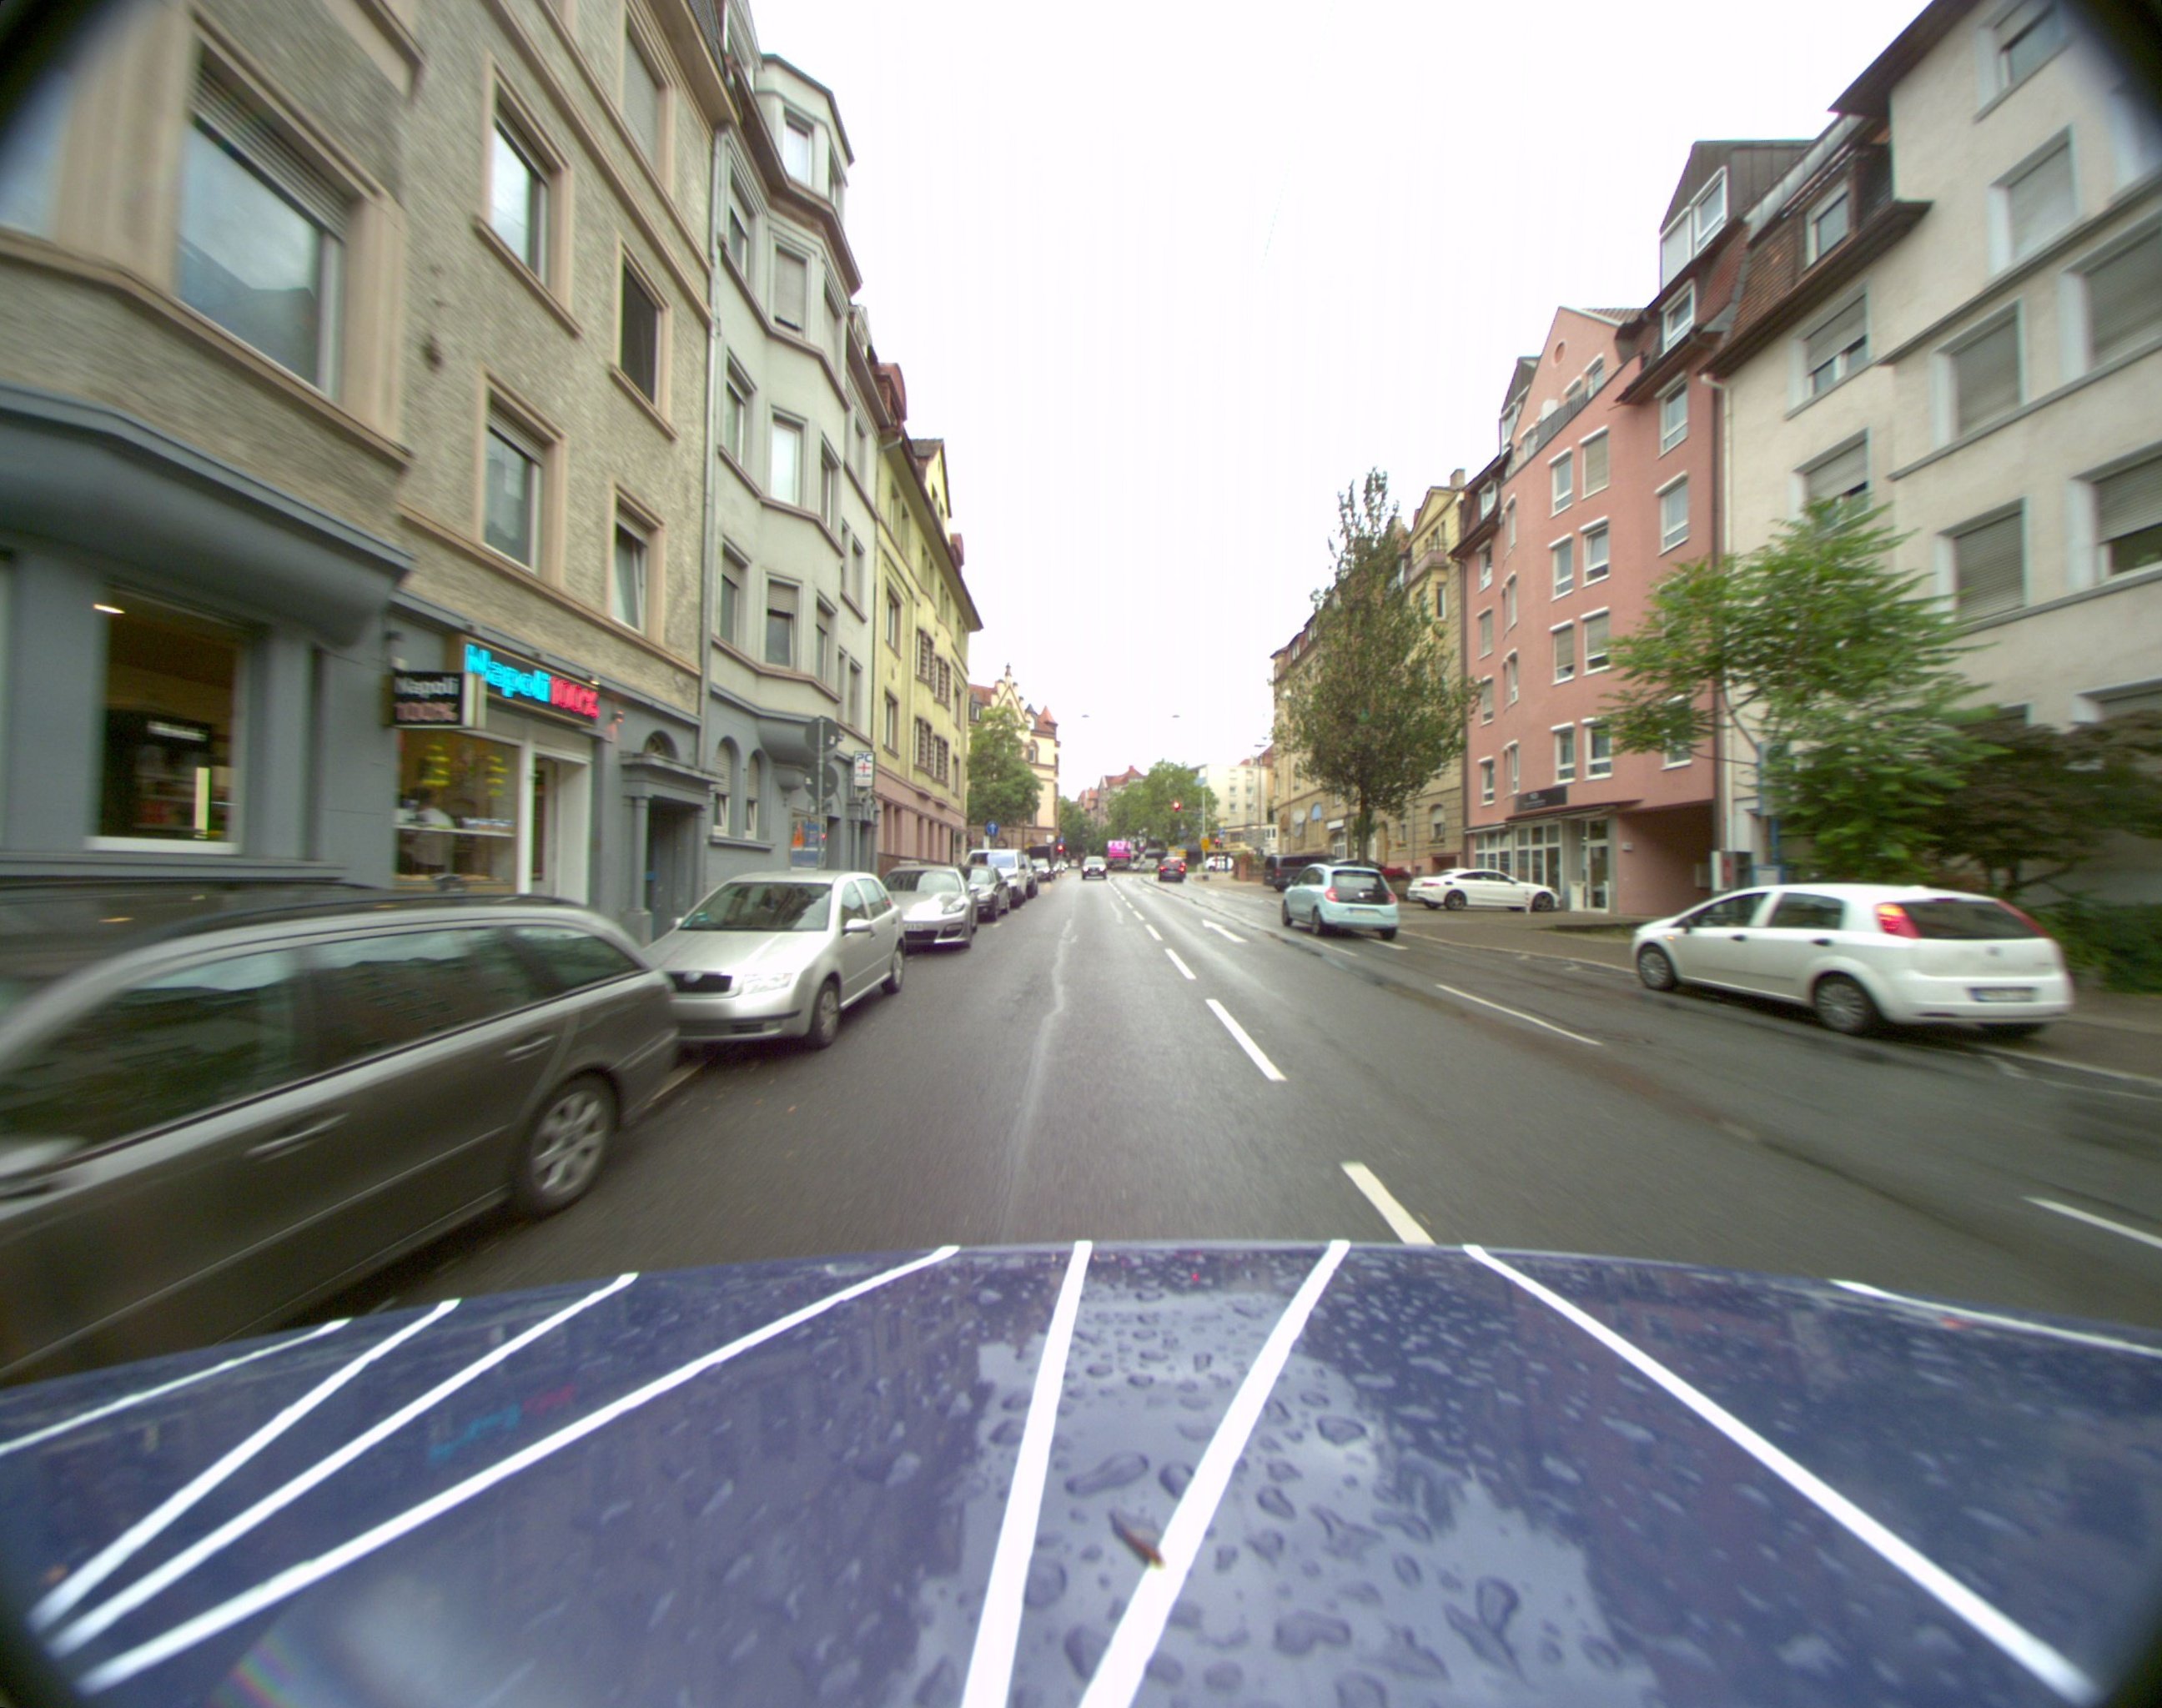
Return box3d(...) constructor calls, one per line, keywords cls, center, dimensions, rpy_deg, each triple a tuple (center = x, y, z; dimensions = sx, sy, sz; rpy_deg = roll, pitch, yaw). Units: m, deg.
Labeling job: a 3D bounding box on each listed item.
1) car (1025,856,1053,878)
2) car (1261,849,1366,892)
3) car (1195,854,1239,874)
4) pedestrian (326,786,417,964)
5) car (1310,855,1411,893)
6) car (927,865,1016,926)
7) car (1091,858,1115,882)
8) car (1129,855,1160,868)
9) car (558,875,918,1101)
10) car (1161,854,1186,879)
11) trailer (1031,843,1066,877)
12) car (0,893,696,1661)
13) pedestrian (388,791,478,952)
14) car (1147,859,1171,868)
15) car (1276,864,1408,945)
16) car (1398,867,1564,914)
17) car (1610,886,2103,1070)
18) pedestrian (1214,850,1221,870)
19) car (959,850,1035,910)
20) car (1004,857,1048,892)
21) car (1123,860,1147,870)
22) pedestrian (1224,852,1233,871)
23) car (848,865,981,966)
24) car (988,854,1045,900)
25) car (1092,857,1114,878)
box3d(cls="car", center=(-2.926, 0.898, 53.609), dimensions=(1.862, 1.503, 3.682), rpy_deg=(0, 0, -1))
box3d(cls="car", center=(11.713, 0.817, 38.419), dimensions=(4.690, 1.927, 1.862), rpy_deg=(-2, 0, -9))
box3d(cls="car", center=(14.899, 1.087, 83.216), dimensions=(4.445, 2.002, 1.919), rpy_deg=(-1, 0, 22))
box3d(cls="pedestrian", center=(-6.750, 0.190, 7.253), dimensions=(0.486, 1.610, 0.665), rpy_deg=(1, 1, -29))
box3d(cls="car", center=(13.294, 0.927, 36.265), dimensions=(4.107, 1.581, 1.897), rpy_deg=(-2, 1, 0))
box3d(cls="car", center=(-2.800, 1.013, 20.262), dimensions=(1.681, 1.367, 4.276), rpy_deg=(-1, 0, 1))
box3d(cls="car", center=(1.530, 1.124, 54.253), dimensions=(1.648, 1.594, 3.667), rpy_deg=(0, 0, 0))
box3d(cls="car", center=(10.894, 1.272, 129.411), dimensions=(4.983, 1.966, 1.876), rpy_deg=(-2, 1, -28))
box3d(cls="car", center=(-2.858, 1.006, 7.391), dimensions=(1.615, 1.466, 4.015), rpy_deg=(-1, 0, 1))
box3d(cls="car", center=(6.770, 0.890, 55.343), dimensions=(1.624, 1.639, 4.422), rpy_deg=(3, 0, 8))
box3d(cls="trailer", center=(-2.523, 0.450, 60.276), dimensions=(1.937, 2.621, 4.687), rpy_deg=(0, 0, 7))
box3d(cls="car", center=(-3.310, 1.015, 2.074), dimensions=(1.904, 1.469, 4.799), rpy_deg=(3, 0, 2))
box3d(cls="pedestrian", center=(-6.771, 0.174, 7.944), dimensions=(0.415, 1.610, 0.627), rpy_deg=(2, 1, 37))
box3d(cls="car", center=(12.803, 1.579, 124.713), dimensions=(3.711, 1.408, 1.807), rpy_deg=(-2, 1, -33))
box3d(cls="car", center=(5.723, 1.040, 17.141), dimensions=(1.640, 1.499, 3.754), rpy_deg=(3, 0, 1))
box3d(cls="car", center=(13.178, 1.189, 25.246), dimensions=(4.559, 1.393, 1.768), rpy_deg=(1, 0, 0))
box3d(cls="car", center=(8.254, 1.179, 8.729), dimensions=(1.625, 1.437, 4.005), rpy_deg=(0, 0, 2))
box3d(cls="pedestrian", center=(12.041, 0.525, 67.054), dimensions=(0.523, 1.763, 0.694), rpy_deg=(-2, 0, 7))
box3d(cls="car", center=(-2.730, 0.791, 25.840), dimensions=(1.924, 1.816, 5.009), rpy_deg=(1, 0, 1))
box3d(cls="car", center=(-2.647, 0.946, 37.358), dimensions=(1.803, 1.555, 4.492), rpy_deg=(-1, 0, 0))
box3d(cls="car", center=(9.556, 1.884, 134.290), dimensions=(3.841, 1.679, 1.802), rpy_deg=(-1, 1, -27))
box3d(cls="pedestrian", center=(13.252, 0.701, 68.321), dimensions=(0.638, 1.692, 0.829), rpy_deg=(-2, 0, 3))
box3d(cls="car", center=(-2.941, 1.008, 14.420), dimensions=(1.881, 1.459, 4.772), rpy_deg=(-1, 0, -6))
box3d(cls="car", center=(-2.597, 0.898, 31.550), dimensions=(1.883, 1.721, 4.676), rpy_deg=(1, 0, 1))
box3d(cls="car", center=(1.707, 1.013, 59.374), dimensions=(1.648, 1.594, 3.809), rpy_deg=(0, 0, 1))
